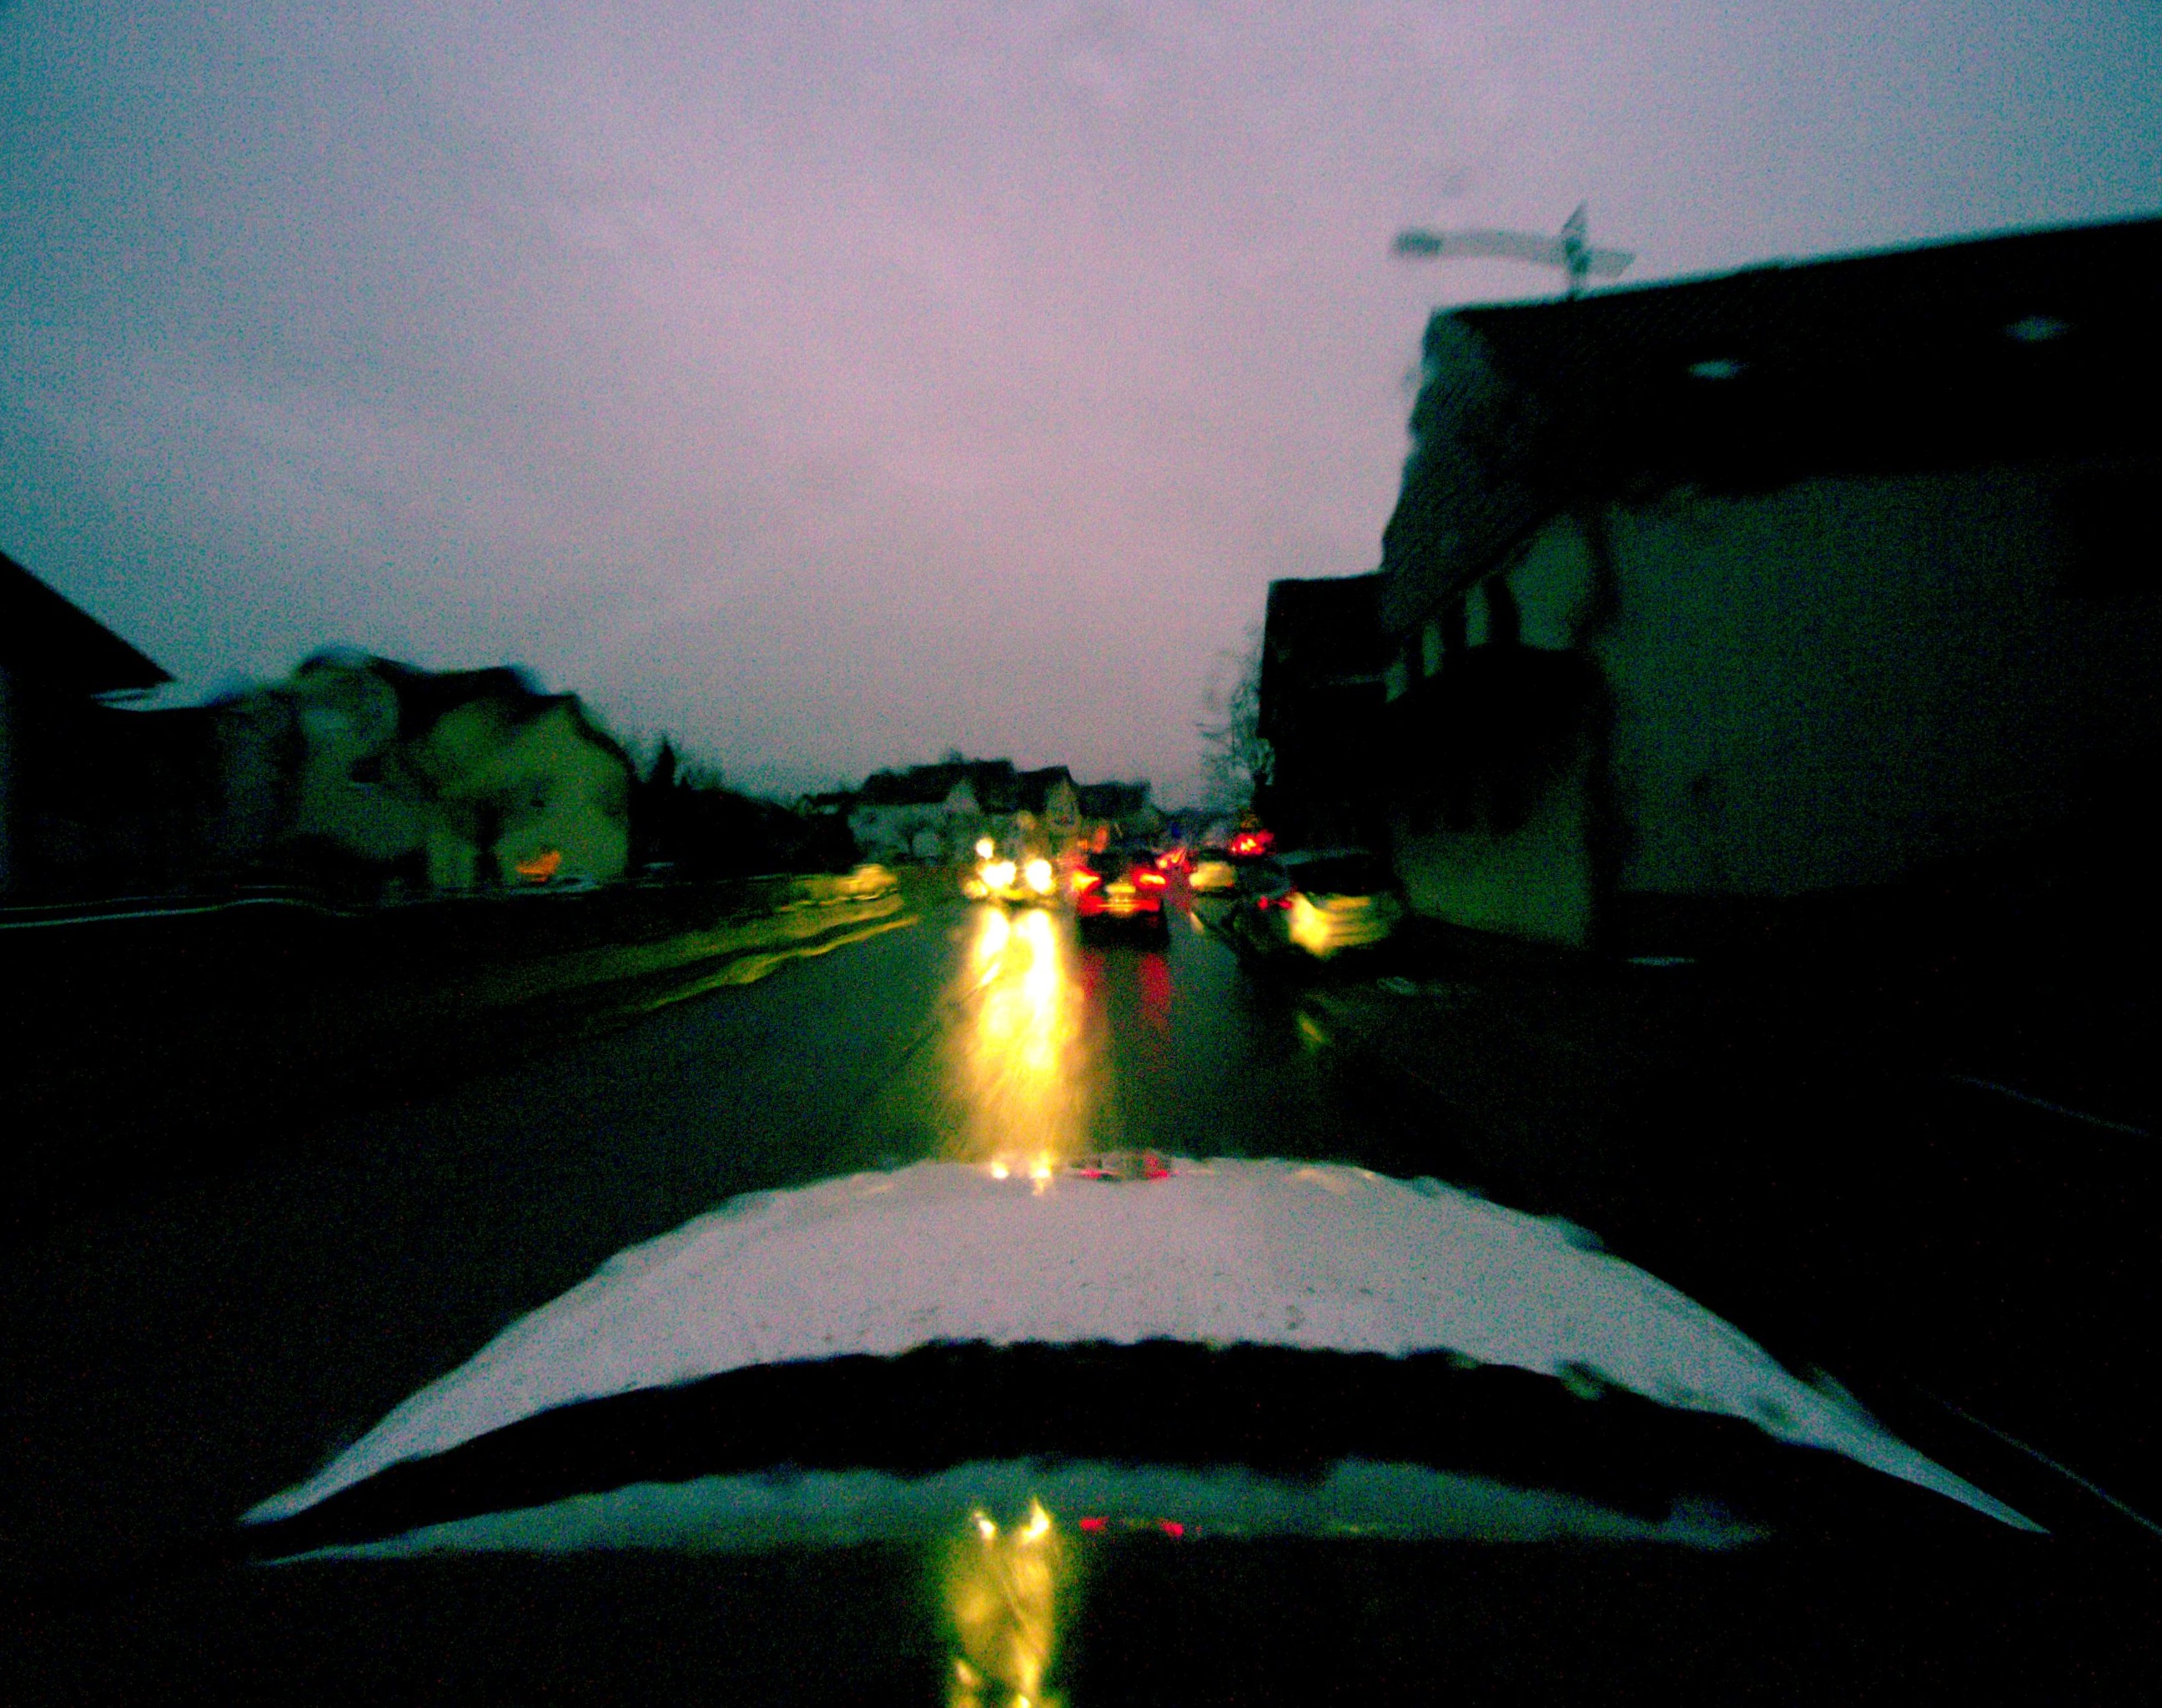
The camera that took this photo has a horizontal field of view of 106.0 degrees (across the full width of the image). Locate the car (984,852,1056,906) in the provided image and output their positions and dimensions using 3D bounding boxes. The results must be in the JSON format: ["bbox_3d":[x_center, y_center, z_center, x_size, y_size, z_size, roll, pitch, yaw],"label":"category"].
[{"bbox_3d":[-1.798,0.705,25.007,1.725,1.536,3.784,0,0,3],"label":"car"}]

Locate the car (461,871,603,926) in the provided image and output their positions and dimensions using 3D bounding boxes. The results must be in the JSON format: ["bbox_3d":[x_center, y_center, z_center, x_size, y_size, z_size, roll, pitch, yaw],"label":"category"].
[{"bbox_3d":[-19.881,1.545,29.734,1.864,1.598,4.234,-4,1,7],"label":"car"}]

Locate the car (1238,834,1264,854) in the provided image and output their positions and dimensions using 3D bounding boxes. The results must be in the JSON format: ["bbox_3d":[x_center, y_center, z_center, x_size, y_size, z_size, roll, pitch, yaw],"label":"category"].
[{"bbox_3d":[19.036,-1.125,90.933,2.140,1.991,4.521,-6,-1,18],"label":"car"}]

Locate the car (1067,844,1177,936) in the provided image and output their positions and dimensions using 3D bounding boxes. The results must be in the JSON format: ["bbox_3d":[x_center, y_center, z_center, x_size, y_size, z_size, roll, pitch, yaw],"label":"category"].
[{"bbox_3d":[0.833,0.622,16.811,1.956,1.594,4.316,-1,1,2],"label":"car"}]

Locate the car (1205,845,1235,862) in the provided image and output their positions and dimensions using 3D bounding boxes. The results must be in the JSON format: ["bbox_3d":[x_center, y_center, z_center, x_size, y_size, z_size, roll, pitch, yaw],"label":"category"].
[{"bbox_3d":[12.930,-0.059,75.595,1.977,1.391,4.021,-2,1,20],"label":"car"}]

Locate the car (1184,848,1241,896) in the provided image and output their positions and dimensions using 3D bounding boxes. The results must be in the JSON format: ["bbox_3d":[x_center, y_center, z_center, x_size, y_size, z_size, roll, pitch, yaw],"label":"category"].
[{"bbox_3d":[4.459,0.576,27.890,1.637,1.415,2.732,-5,0,5],"label":"car"}]

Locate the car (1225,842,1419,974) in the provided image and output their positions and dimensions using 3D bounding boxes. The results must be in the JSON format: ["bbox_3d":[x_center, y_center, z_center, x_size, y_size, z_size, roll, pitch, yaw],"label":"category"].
[{"bbox_3d":[3.234,0.636,11.810,1.645,1.455,4.241,-4,0,3],"label":"car"}]

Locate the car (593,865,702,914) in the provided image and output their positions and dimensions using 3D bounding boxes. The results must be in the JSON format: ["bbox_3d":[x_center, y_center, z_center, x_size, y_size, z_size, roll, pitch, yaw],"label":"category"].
[{"bbox_3d":[-18.964,1.511,35.906,1.864,1.778,4.511,-4,1,7],"label":"car"}]

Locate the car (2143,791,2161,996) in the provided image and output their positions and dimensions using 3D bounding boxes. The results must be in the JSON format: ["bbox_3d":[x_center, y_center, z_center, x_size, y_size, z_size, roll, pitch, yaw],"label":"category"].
[{"bbox_3d":[10.268,0.199,5.282,3.985,1.601,1.808,-4,0,7],"label":"car"}]

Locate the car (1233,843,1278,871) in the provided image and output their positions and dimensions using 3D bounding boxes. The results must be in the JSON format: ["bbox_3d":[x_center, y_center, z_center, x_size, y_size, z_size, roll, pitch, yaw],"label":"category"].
[{"bbox_3d":[10.090,0.160,47.291,1.759,1.393,3.914,-4,0,1],"label":"car"}]

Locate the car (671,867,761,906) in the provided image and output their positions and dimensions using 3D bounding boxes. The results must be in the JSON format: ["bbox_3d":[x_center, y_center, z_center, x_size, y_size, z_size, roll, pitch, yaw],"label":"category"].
[{"bbox_3d":[-18.276,1.588,41.058,1.863,1.572,4.513,-4,1,9],"label":"car"}]

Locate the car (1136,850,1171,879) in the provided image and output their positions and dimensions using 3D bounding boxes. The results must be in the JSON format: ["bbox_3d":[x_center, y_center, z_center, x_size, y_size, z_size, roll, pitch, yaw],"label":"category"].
[{"bbox_3d":[3.762,0.536,42.891,1.676,1.453,4.003,0,0,2],"label":"car"}]

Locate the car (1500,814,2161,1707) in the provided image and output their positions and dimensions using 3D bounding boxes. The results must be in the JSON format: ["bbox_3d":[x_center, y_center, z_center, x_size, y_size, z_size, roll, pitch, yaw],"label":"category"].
[{"bbox_3d":[2.819,0.703,1.123,1.950,1.532,5.009,0,0,0],"label":"car"}]

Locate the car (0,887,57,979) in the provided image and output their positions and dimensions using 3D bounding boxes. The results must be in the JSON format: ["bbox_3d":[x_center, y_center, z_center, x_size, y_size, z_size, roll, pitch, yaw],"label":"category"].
[{"bbox_3d":[-21.271,1.495,14.105,1.849,1.681,4.007,0,0,6],"label":"car"}]

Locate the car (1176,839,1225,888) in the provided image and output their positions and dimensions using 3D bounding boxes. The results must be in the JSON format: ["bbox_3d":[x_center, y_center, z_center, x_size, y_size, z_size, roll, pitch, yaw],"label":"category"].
[{"bbox_3d":[4.996,0.349,33.686,1.759,1.782,4.011,-5,0,10],"label":"car"}]

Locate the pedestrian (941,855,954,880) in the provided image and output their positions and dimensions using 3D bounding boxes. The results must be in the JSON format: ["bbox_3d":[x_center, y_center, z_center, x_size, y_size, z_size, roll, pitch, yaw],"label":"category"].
[{"bbox_3d":[-9.002,0.904,54.811,0.658,1.697,0.543,-1,0,15],"label":"pedestrian"}]

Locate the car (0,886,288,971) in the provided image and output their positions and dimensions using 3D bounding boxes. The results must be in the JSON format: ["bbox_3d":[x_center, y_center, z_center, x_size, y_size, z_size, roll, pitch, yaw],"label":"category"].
[{"bbox_3d":[-21.151,1.605,18.650,1.760,1.523,4.038,-2,-1,6],"label":"car"}]

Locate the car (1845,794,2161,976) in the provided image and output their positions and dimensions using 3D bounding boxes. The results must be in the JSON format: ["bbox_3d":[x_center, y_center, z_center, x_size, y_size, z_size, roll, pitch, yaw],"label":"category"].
[{"bbox_3d":[10.476,0.208,7.890,4.123,1.555,1.868,-3,-1,9],"label":"car"}]

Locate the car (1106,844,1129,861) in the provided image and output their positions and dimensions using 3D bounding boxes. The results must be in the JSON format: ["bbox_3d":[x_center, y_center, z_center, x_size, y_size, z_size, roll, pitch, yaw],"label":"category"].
[{"bbox_3d":[4.306,-0.205,96.424,2.036,1.925,4.047,-3,1,-7],"label":"car"}]

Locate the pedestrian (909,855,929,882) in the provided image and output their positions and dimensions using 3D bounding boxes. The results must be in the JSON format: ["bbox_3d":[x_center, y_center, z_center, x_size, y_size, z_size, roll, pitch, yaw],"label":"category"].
[{"bbox_3d":[-10.908,0.975,54.891,0.921,1.784,0.977,-1,0,15],"label":"pedestrian"}]

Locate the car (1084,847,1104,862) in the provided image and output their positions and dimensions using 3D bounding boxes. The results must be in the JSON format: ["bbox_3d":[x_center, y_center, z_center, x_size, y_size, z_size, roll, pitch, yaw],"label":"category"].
[{"bbox_3d":[1.521,0.039,97.199,1.820,1.613,4.047,-3,1,-7],"label":"car"}]

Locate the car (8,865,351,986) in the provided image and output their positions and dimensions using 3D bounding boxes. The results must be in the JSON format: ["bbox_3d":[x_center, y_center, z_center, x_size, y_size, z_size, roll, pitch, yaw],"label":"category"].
[{"bbox_3d":[-15.940,1.154,14.762,1.792,1.803,3.863,-2,-1,2],"label":"car"}]

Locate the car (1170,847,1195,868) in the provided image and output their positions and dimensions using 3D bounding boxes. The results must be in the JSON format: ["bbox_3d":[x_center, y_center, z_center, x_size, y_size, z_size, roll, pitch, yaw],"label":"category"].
[{"bbox_3d":[7.621,0.269,61.293,1.805,1.412,4.008,-1,1,7],"label":"car"}]
